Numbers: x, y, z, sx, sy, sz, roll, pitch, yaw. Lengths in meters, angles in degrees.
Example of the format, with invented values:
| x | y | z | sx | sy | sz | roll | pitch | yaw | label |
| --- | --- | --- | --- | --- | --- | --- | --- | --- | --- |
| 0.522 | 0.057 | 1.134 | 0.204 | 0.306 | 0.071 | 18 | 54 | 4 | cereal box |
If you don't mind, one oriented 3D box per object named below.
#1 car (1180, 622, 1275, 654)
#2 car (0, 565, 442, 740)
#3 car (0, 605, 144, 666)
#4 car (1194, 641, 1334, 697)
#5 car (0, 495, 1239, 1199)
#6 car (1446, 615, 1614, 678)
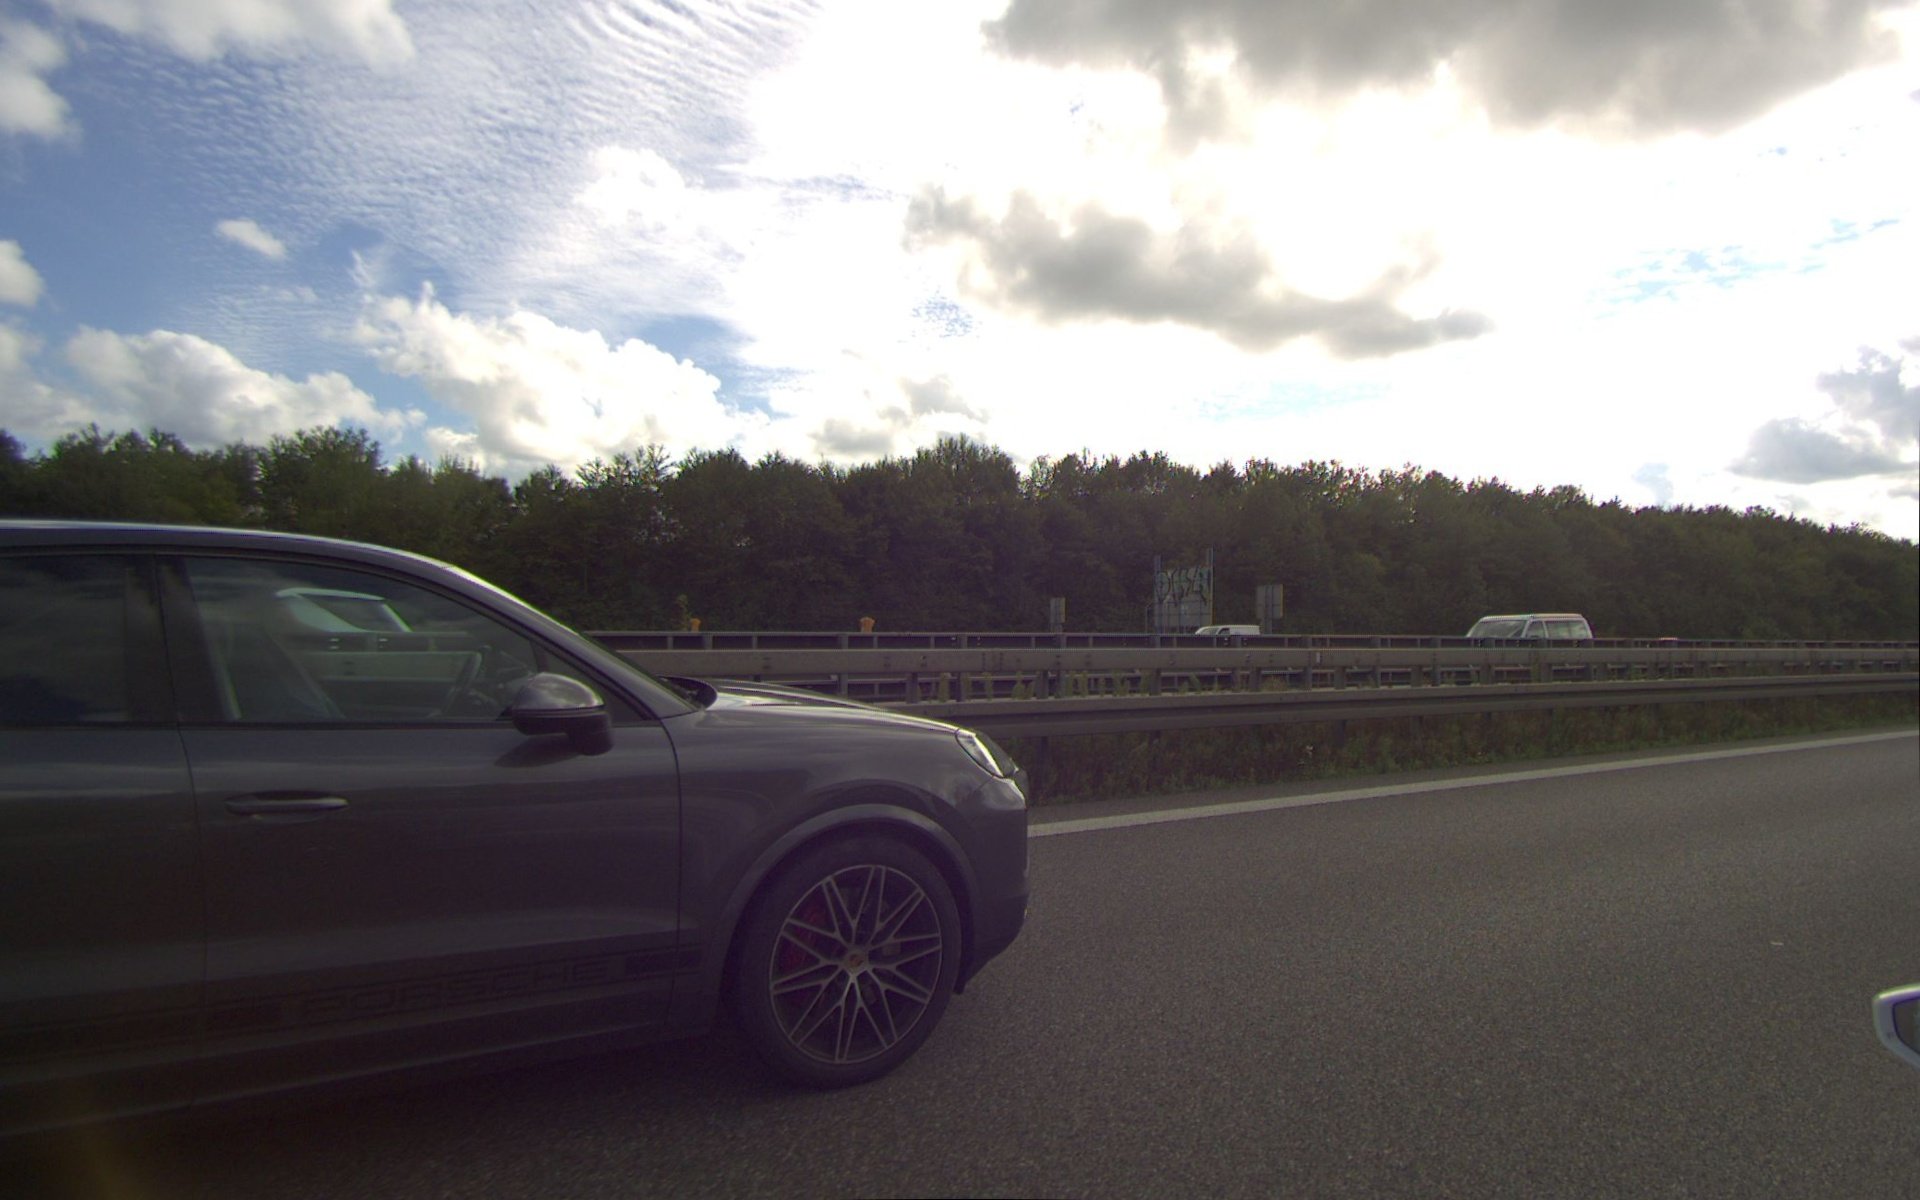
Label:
| x | y | z | sx | sy | sz | roll | pitch | yaw | label |
| --- | --- | --- | --- | --- | --- | --- | --- | --- | --- |
| 13.675 | 1.926 | 51.219 | 4.954 | 1.598 | 1.762 | 1 | -1 | -31 | car |
| -7.524 | 0.487 | 10.010 | 4.149 | 1.499 | 1.728 | 2 | -1 | -29 | car |
| -25.924 | 0.968 | 27.761 | 4.947 | 1.657 | 1.803 | 1 | -1 | -29 | car |
| 8.629 | 1.904 | 28.437 | 3.798 | 1.438 | 1.579 | 1 | -1 | -28 | car |
| -1.747 | 0.641 | 3.267 | 5.436 | 1.658 | 1.903 | 2 | -1 | -31 | car |
| 16.108 | 1.287 | 28.324 | 4.947 | 1.658 | 1.803 | 2 | -1 | -29 | car |
